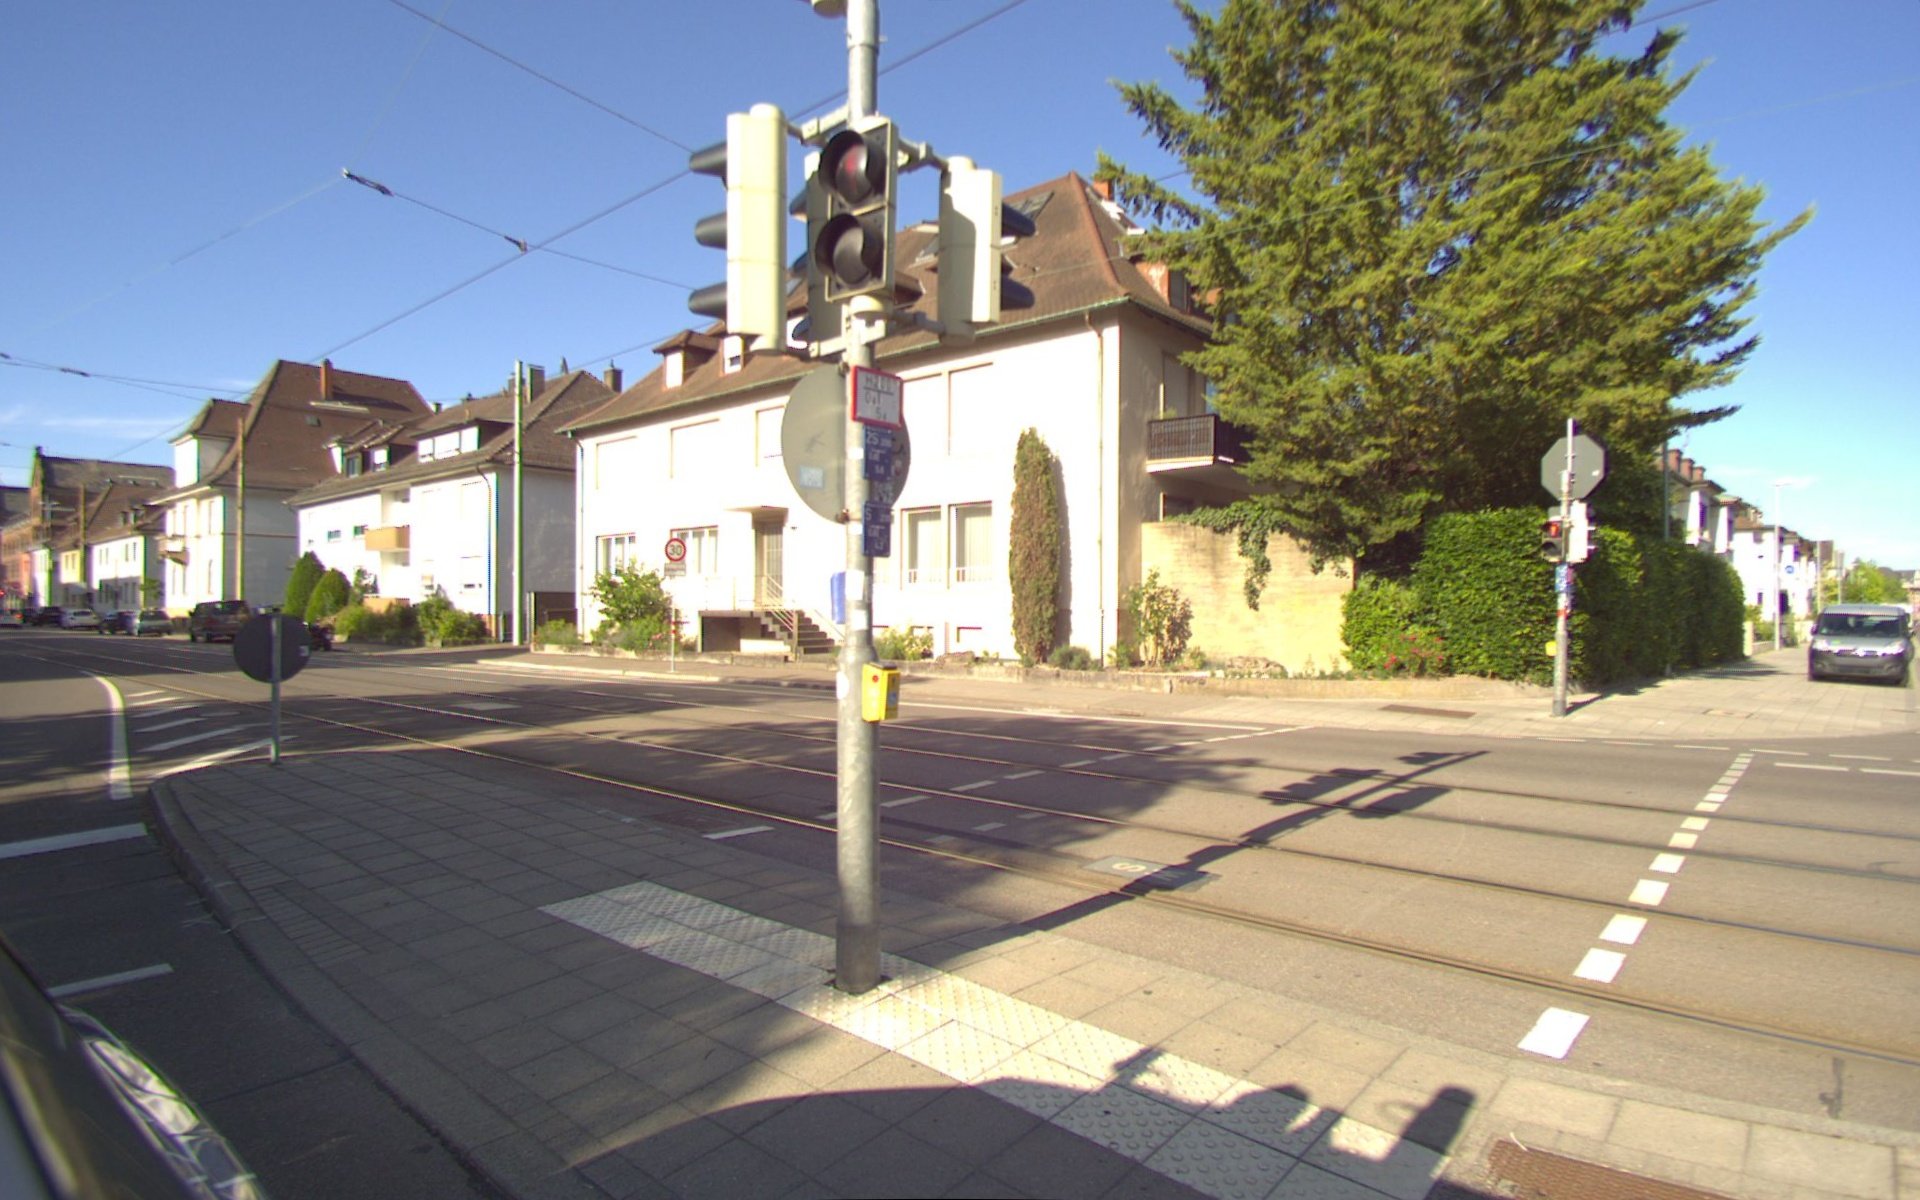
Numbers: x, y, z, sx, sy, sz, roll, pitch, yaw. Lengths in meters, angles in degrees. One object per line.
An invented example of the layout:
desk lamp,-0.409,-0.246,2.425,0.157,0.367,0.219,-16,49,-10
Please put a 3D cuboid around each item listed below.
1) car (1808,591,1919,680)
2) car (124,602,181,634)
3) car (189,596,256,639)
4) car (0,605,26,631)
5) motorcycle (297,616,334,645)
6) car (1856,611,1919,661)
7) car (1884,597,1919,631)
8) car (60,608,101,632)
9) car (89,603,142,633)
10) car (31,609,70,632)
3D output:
car,20.938,0.783,23.402,1.817,1.881,4.254,-1,-1,43
car,-46.152,1.008,57.814,3.999,1.728,1.899,-1,1,42
car,-35.172,0.808,48.227,4.001,1.915,1.898,-1,1,44
car,-65.537,1.223,69.469,4.002,1.728,1.897,-1,1,45
motorcycle,-24.239,1.132,38.039,2.437,1.054,0.597,-1,0,43
car,34.046,1.277,36.989,1.817,1.756,4.142,-1,-1,43
car,59.411,0.882,63.660,1.817,2.110,4.124,-1,-1,43
car,-62.170,1.409,71.532,4.002,1.576,1.897,-1,1,45
car,-51.133,1.091,61.259,3.998,1.728,1.899,-1,1,41
car,-73.141,1.609,81.368,4.000,1.727,1.899,-1,1,43
